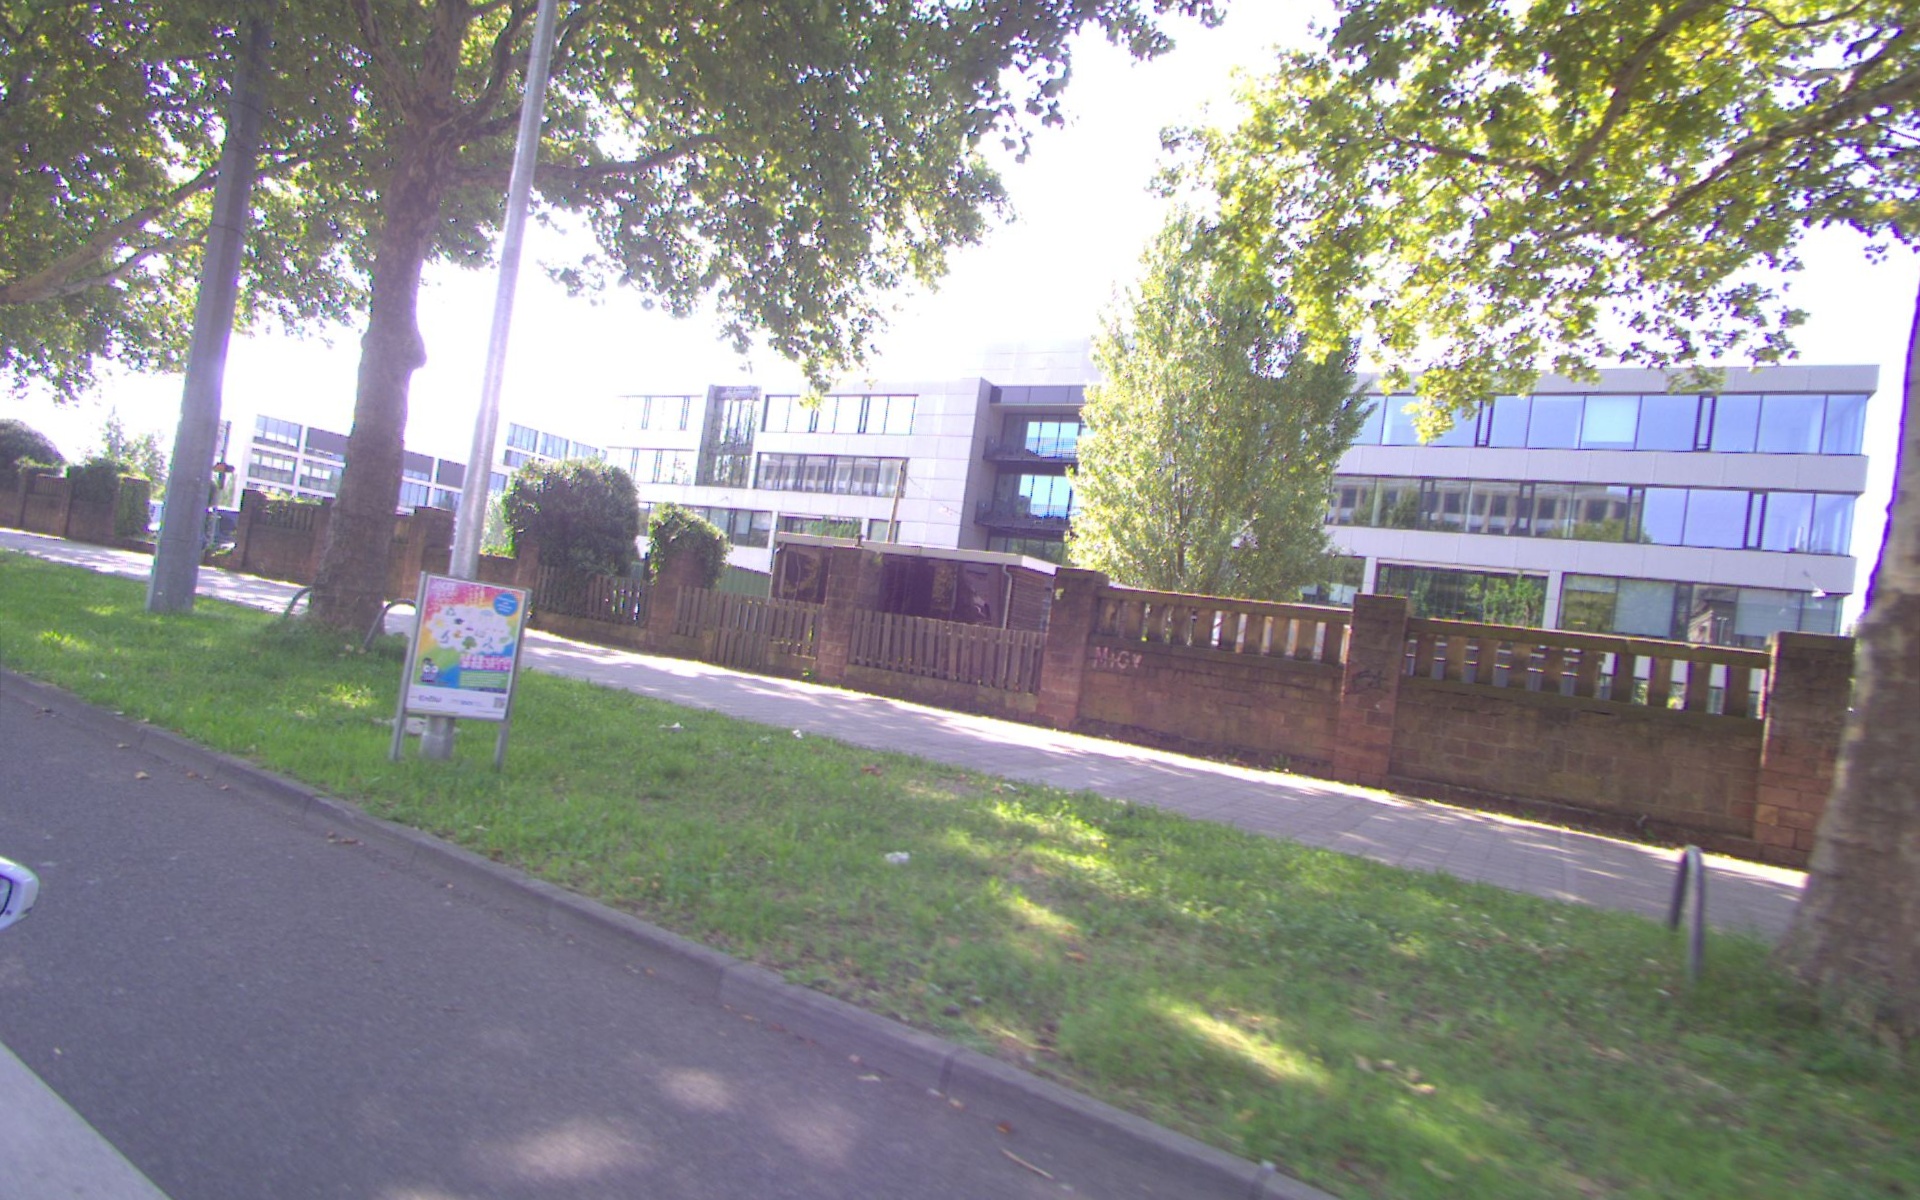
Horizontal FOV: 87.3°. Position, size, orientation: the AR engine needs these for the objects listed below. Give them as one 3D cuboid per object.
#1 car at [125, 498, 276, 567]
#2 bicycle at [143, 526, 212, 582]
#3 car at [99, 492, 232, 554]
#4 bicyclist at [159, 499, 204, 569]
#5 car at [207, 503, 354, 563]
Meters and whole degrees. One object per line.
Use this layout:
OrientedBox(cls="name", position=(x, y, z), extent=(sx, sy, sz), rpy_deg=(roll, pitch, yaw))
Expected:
OrientedBox(cls="car", position=(-29.317, -2.576, 38.983), extent=(1.534, 1.914, 4.284), rpy_deg=(7, -2, 29))
OrientedBox(cls="bicycle", position=(-18.586, -1.105, 23.880), extent=(1.825, 1.101, 0.492), rpy_deg=(7, -1, 28))
OrientedBox(cls="car", position=(-33.757, -3.236, 42.869), extent=(1.534, 1.864, 4.012), rpy_deg=(7, -2, 29))
OrientedBox(cls="bicyclist", position=(-18.439, -1.563, 23.826), extent=(0.586, 1.557, 0.470), rpy_deg=(8, -1, 28))
OrientedBox(cls="car", position=(-24.066, -2.334, 35.795), extent=(1.478, 1.419, 3.997), rpy_deg=(7, -2, 29))
